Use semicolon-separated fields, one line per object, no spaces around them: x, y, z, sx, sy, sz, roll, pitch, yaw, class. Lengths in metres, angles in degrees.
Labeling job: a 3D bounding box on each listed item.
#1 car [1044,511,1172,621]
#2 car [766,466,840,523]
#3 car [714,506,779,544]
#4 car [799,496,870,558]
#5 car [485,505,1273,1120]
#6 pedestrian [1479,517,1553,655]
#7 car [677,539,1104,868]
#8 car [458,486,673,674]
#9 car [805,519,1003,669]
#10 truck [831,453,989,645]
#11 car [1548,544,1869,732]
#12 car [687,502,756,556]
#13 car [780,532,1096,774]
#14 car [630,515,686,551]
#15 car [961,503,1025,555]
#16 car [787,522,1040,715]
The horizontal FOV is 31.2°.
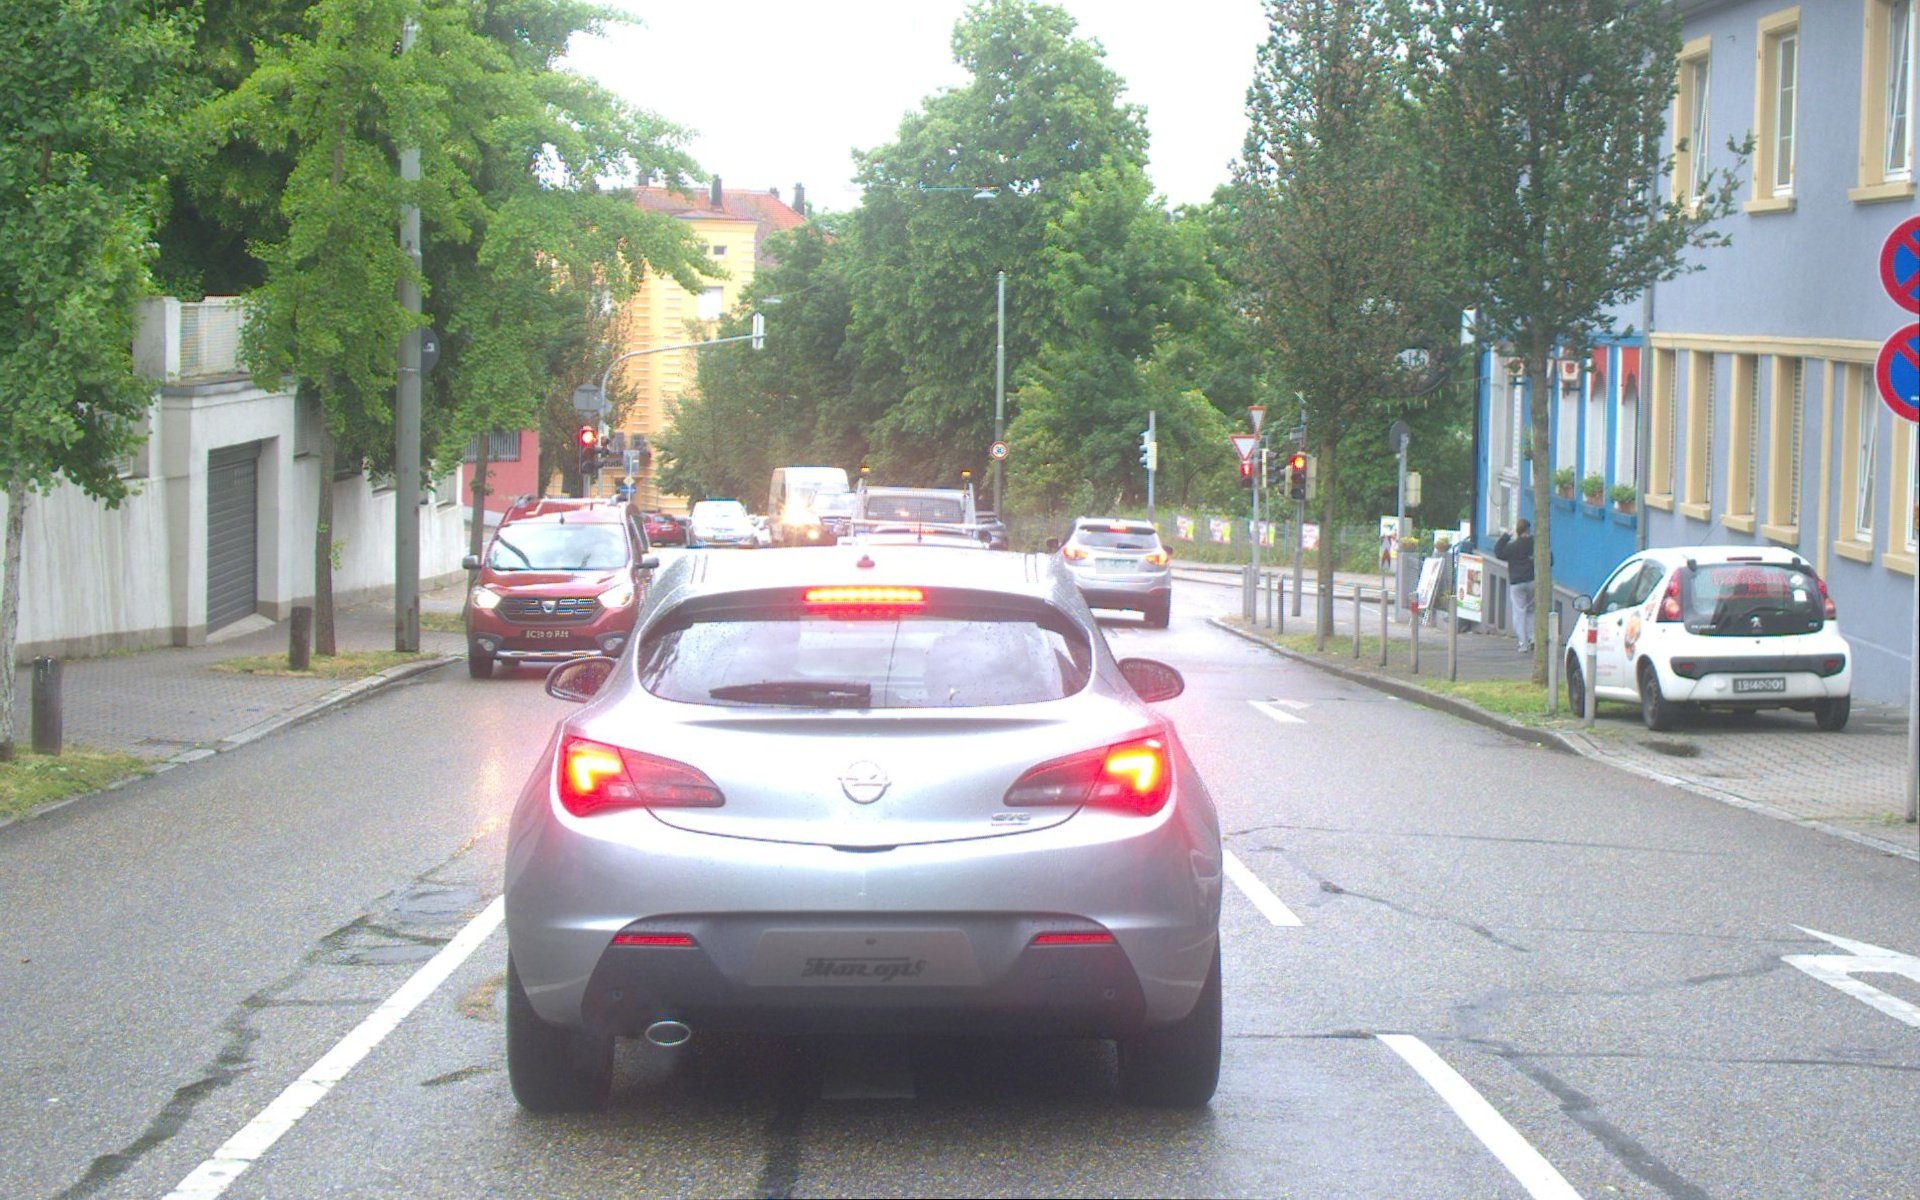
2.336;-0.571;55.149;1.722;1.708;3.880;0;1;-2;car
-4.601;-3.061;100.244;1.722;1.632;3.881;0;1;-9;car
-8.682;-3.032;139.352;1.722;1.538;3.881;0;1;-18;car
-3.365;-1.975;92.623;1.870;1.632;3.880;0;1;-2;car
-0.270;0.464;10.048;1.837;1.429;3.880;1;1;-2;car
7.126;-0.184;44.084;0.783;1.723;0.651;2;1;0;pedestrian
-0.392;0.452;18.364;1.962;1.443;4.306;2;1;-2;car
-4.039;-0.228;35.806;1.746;1.822;4.459;-1;1;-1;car
-0.631;-0.114;37.122;1.962;1.443;4.306;2;1;-2;car
-0.719;-0.727;47.114;1.962;2.420;4.936;2;1;-2;truck
6.166;0.264;28.723;1.722;1.443;3.880;0;1;-2;car
-6.496;-1.942;93.830;1.722;1.455;3.880;0;1;-2;car
-0.204;0.300;24.085;1.962;1.443;4.306;2;1;-2;car
-13.886;-3.067;158.122;1.722;1.632;3.881;0;1;-18;car
1.033;-2.250;108.915;1.722;1.632;3.880;0;1;-4;car
-0.434;0.102;29.463;1.962;1.443;4.306;2;1;-2;car
